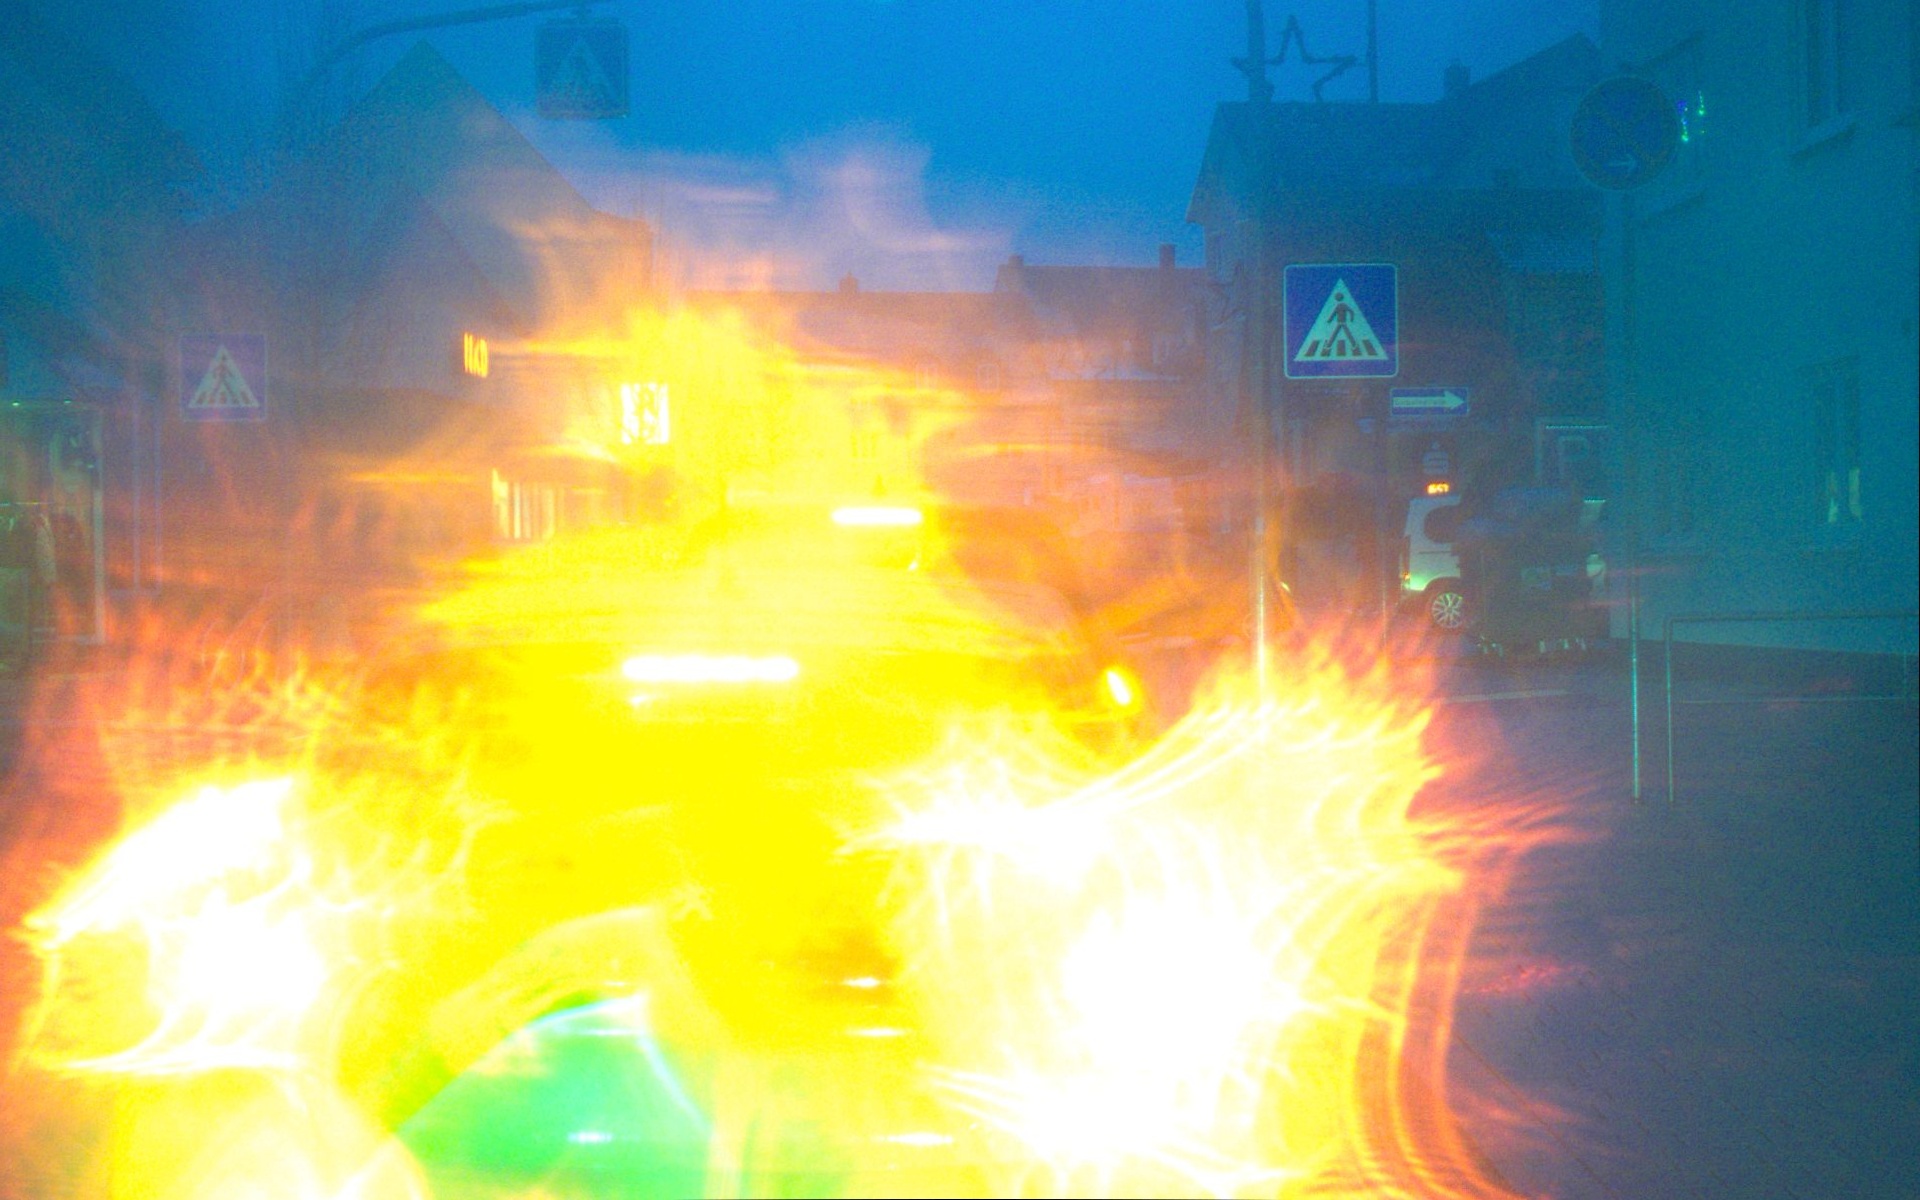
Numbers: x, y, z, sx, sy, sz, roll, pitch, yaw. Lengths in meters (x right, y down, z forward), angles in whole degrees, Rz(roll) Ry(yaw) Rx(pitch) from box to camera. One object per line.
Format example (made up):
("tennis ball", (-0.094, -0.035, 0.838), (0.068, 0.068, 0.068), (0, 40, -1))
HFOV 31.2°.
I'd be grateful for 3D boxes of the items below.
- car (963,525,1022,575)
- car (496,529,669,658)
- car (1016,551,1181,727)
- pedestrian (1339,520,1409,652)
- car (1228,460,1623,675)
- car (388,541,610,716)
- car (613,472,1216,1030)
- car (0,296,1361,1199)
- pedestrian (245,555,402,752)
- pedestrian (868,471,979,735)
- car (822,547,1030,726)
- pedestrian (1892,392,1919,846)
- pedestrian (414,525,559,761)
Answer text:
("car", (0.975, -1.476, 100.852), (1.534, 1.241, 3.647), (-5, 2, 2))
("car", (-5.294, -0.125, 48.736), (1.993, 1.746, 4.361), (0, 1, 0))
("car", (1.675, 0.434, 42.759), (1.641, 2.007, 4.001), (-2, 1, -3))
("pedestrian", (6.320, -0.222, 52.558), (1.016, 2.007, 1.275), (0, 1, 5))
("car", (4.519, -0.320, 33.784), (3.697, 2.007, 1.689), (1, 0, 3))
("car", (-5.505, 0.293, 41.599), (1.993, 2.007, 4.361), (0, 1, 2))
("car", (-0.108, 0.432, 12.327), (1.798, 1.656, 4.000), (1, 1, 1))
("car", (-0.403, 0.458, 6.619), (1.994, 1.789, 4.648), (0, 2, 2))
("pedestrian", (-4.930, 0.408, 26.669), (0.890, 1.413, 0.776), (6, 0, 4))
("pedestrian", (-0.267, 0.010, 24.792), (0.703, 1.870, 0.617), (1, 2, -6))
("car", (-0.260, 0.294, 33.138), (1.827, 1.596, 4.581), (0, 1, 2))
("pedestrian", (4.339, 0.078, 14.462), (0.663, 1.881, 0.824), (1, 0, 6))
("pedestrian", (-3.585, 0.312, 26.101), (0.973, 1.736, 0.961), (1, 2, -2))
